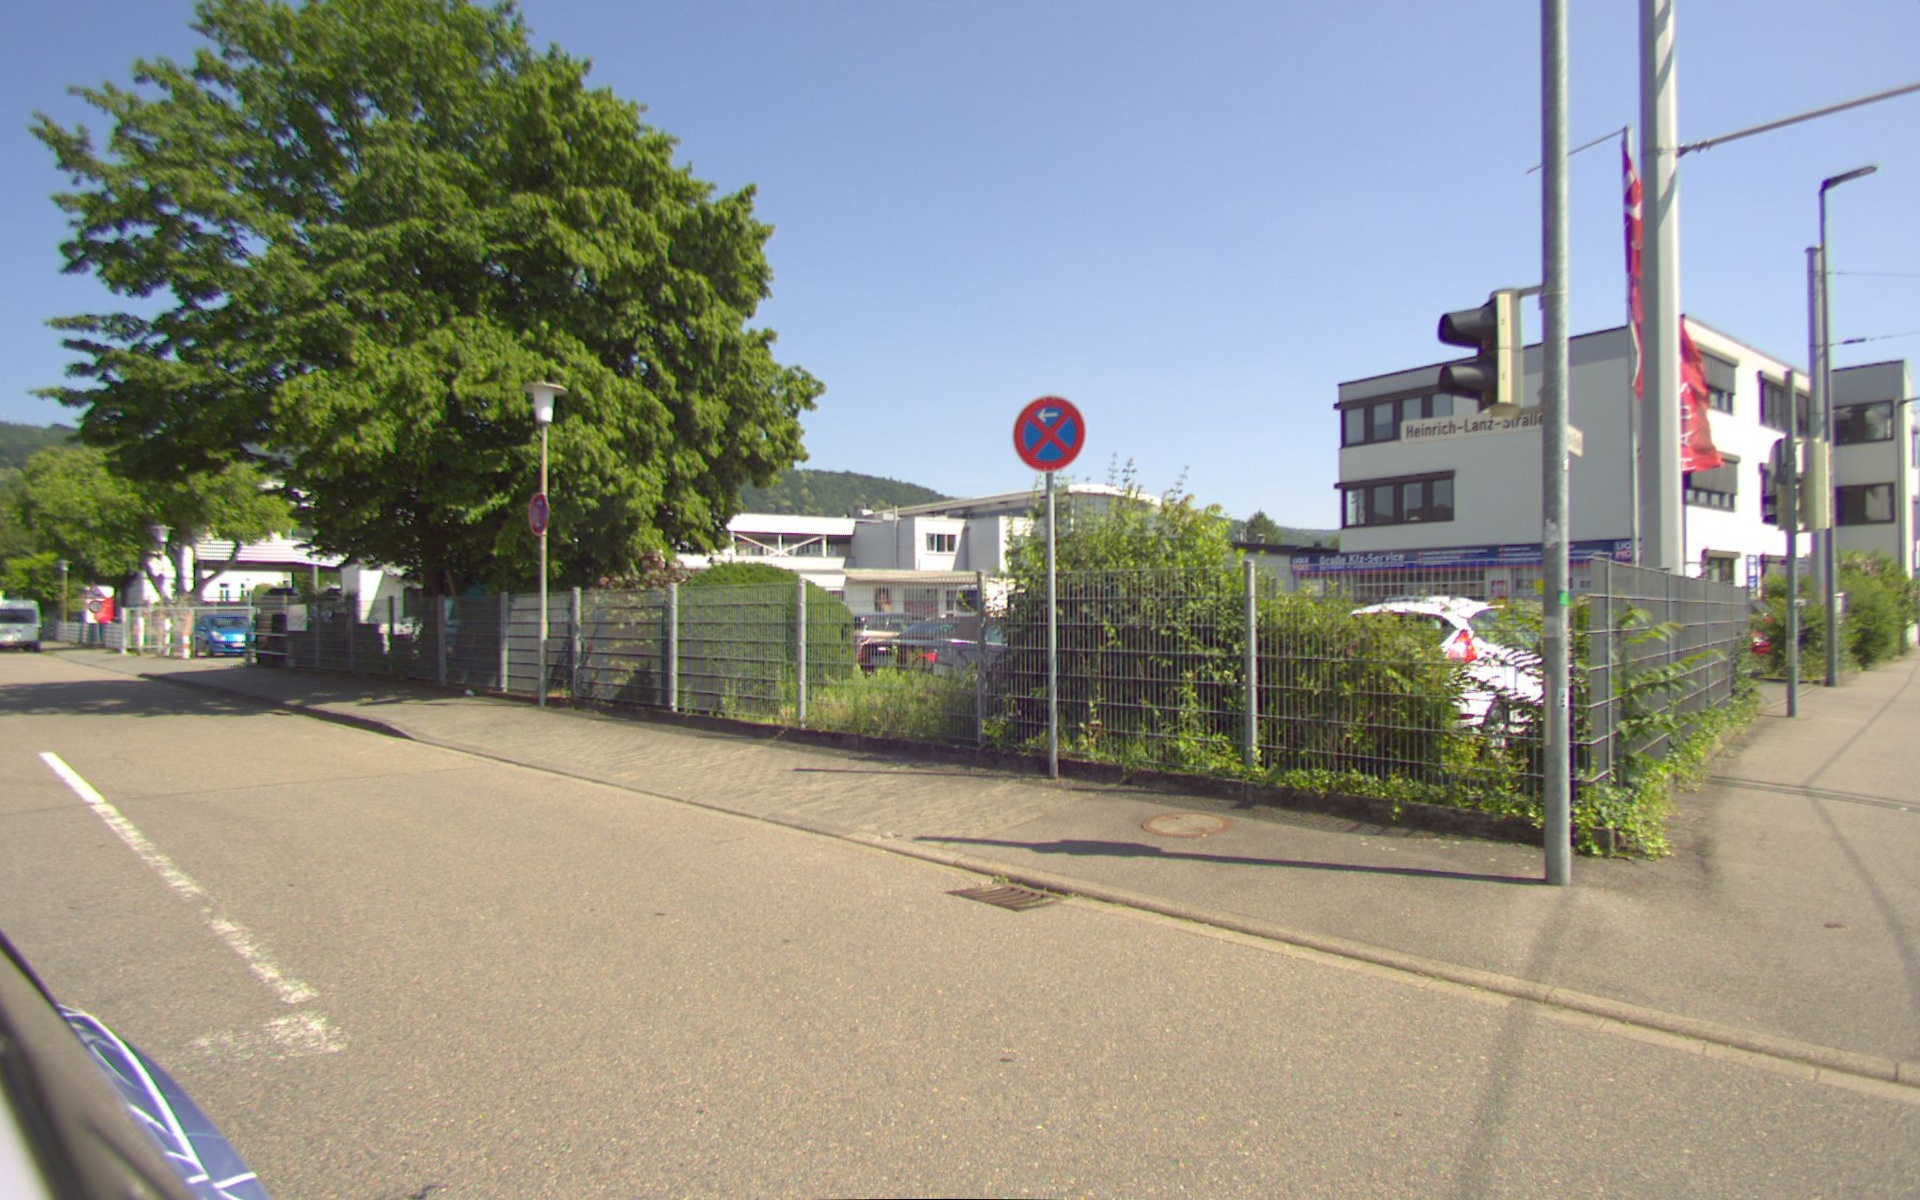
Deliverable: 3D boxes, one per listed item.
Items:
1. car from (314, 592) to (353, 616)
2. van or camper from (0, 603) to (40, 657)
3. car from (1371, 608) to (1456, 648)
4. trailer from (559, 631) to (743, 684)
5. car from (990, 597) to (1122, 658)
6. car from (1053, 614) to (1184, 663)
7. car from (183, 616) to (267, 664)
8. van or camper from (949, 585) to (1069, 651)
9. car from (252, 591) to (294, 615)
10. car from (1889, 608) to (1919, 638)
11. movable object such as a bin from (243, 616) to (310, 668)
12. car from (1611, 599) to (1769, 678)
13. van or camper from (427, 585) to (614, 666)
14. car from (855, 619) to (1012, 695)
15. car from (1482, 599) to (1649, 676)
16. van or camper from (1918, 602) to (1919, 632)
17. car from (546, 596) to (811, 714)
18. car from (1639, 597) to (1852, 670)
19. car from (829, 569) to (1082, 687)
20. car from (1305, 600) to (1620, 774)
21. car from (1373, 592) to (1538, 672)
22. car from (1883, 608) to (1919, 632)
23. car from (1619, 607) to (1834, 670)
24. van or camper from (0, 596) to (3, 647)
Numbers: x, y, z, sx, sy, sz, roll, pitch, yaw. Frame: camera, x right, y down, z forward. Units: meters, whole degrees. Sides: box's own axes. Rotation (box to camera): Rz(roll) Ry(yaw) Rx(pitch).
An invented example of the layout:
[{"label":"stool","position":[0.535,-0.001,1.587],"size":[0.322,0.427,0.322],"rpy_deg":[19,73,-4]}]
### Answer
[{"label":"car","position":[-39.955,0.272,64.588],"size":[1.680,1.469,3.537],"rpy_deg":[0,-1,-25]},{"label":"van or camper","position":[-44.083,1.352,46.694],"size":[4.686,2.395,2.001],"rpy_deg":[-1,-2,43]},{"label":"car","position":[17.137,1.045,38.217],"size":[3.079,1.437,1.426],"rpy_deg":[0,-2,-32]},{"label":"trailer","position":[-6.289,1.137,20.768],"size":[3.244,0.946,1.613],"rpy_deg":[1,-1,-45]},{"label":"car","position":[3.444,0.955,36.004],"size":[4.506,2.029,2.062],"rpy_deg":[0,-1,-38]},{"label":"car","position":[5.440,1.279,34.553],"size":[4.354,1.569,1.996],"rpy_deg":[1,-2,-38]},{"label":"car","position":[-25.326,1.333,34.827],"size":[3.524,1.469,1.623],"rpy_deg":[-1,1,42]},{"label":"van or camper","position":[1.895,0.647,38.079],"size":[4.530,2.323,1.784],"rpy_deg":[0,0,-41]},{"label":"car","position":[-42.717,0.199,62.951],"size":[1.680,1.469,3.536],"rpy_deg":[0,-1,-26]},{"label":"car","position":[53.637,1.268,55.317],"size":[1.969,1.530,4.006],"rpy_deg":[-2,1,-40]},{"label":"movable object such as a bin","position":[-20.050,1.207,29.675],"size":[1.363,1.368,2.106],"rpy_deg":[-2,1,-41]},{"label":"car","position":[15.714,0.785,21.735],"size":[3.774,1.553,1.745],"rpy_deg":[0,-1,-38]},{"label":"van or camper","position":[-11.501,0.608,26.659],"size":[1.775,1.877,4.135],"rpy_deg":[-1,1,45]},{"label":"car","position":[-0.527,1.150,21.475],"size":[3.035,1.484,1.654],"rpy_deg":[1,-1,-45]},{"label":"car","position":[13.594,0.802,22.677],"size":[3.870,1.580,1.861],"rpy_deg":[0,-1,-37]},{"label":"van or camper","position":[74.251,1.256,75.163],"size":[2.020,2.314,5.781],"rpy_deg":[-1,-1,16]},{"label":"car","position":[-3.964,0.760,14.567],"size":[1.518,1.496,3.339],"rpy_deg":[0,-2,45]},{"label":"car","position":[19.994,0.819,25.867],"size":[1.969,1.719,4.005],"rpy_deg":[1,-1,-42]},{"label":"car","position":[0.035,0.407,15.329],"size":[1.855,1.553,3.785],"rpy_deg":[-1,-2,40]},{"label":"car","position":[5.269,0.759,10.377],"size":[3.896,1.444,1.714],"rpy_deg":[2,-1,-44]},{"label":"car","position":[12.125,0.749,24.713],"size":[3.934,1.798,2.005],"rpy_deg":[0,-1,-36]},{"label":"car","position":[61.311,1.280,63.978],"size":[1.848,1.519,4.010],"rpy_deg":[1,-1,-34]},{"label":"car","position":[18.338,0.879,24.345],"size":[1.721,1.381,3.842],"rpy_deg":[1,-1,-41]},{"label":"van or camper","position":[-66.009,1.442,67.720],"size":[5.591,3.396,2.491],"rpy_deg":[-1,-1,43]}]
